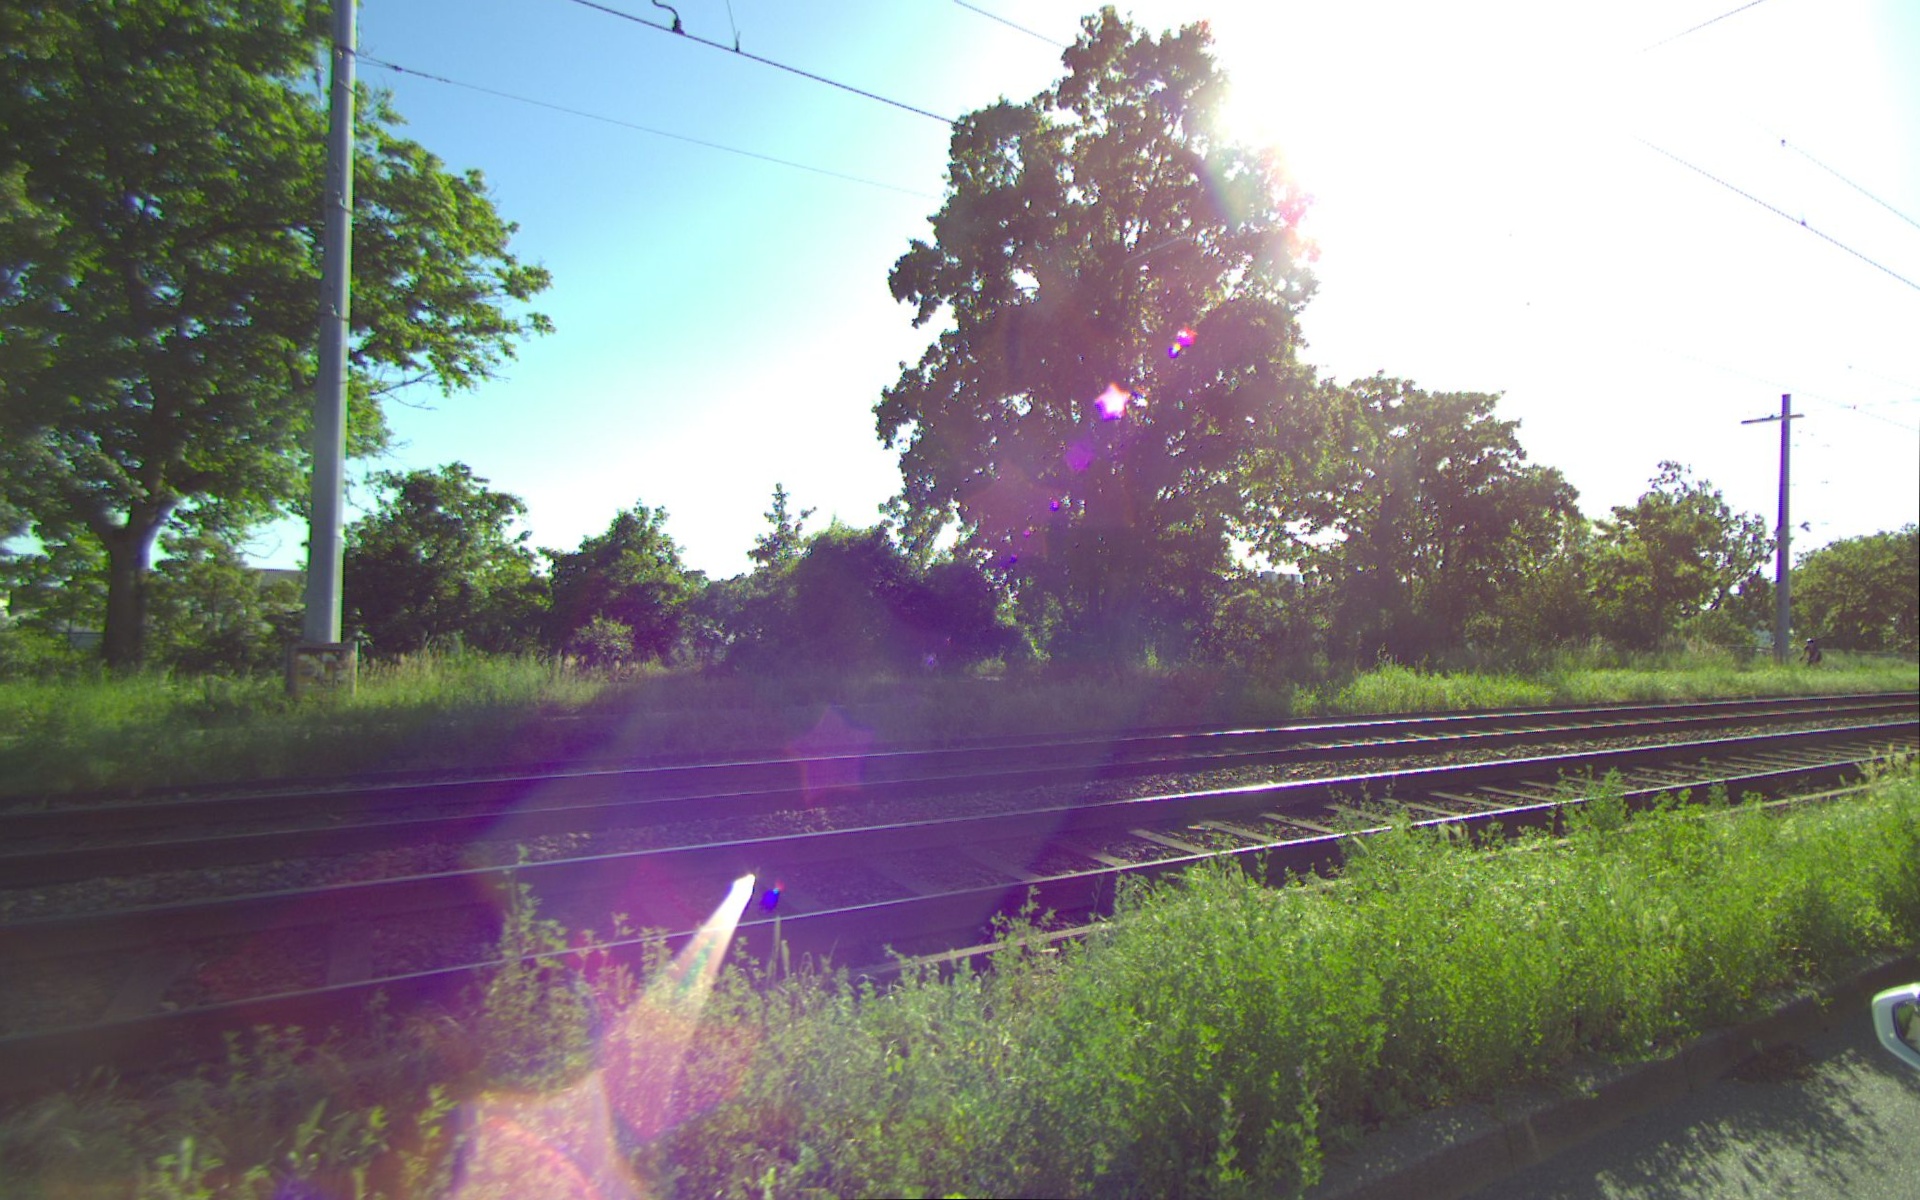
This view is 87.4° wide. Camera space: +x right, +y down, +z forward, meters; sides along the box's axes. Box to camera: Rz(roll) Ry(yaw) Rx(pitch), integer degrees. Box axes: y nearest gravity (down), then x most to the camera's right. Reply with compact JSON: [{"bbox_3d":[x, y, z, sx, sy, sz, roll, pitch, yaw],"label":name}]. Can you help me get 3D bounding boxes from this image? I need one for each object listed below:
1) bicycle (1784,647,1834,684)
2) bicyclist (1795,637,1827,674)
[{"bbox_3d":[31.149,2.389,36.843,2.398,1.278,0.587,1,1,-30],"label":"bicycle"},{"bbox_3d":[31.218,2.020,36.859,0.975,1.328,0.580,1,1,-30],"label":"bicyclist"}]
